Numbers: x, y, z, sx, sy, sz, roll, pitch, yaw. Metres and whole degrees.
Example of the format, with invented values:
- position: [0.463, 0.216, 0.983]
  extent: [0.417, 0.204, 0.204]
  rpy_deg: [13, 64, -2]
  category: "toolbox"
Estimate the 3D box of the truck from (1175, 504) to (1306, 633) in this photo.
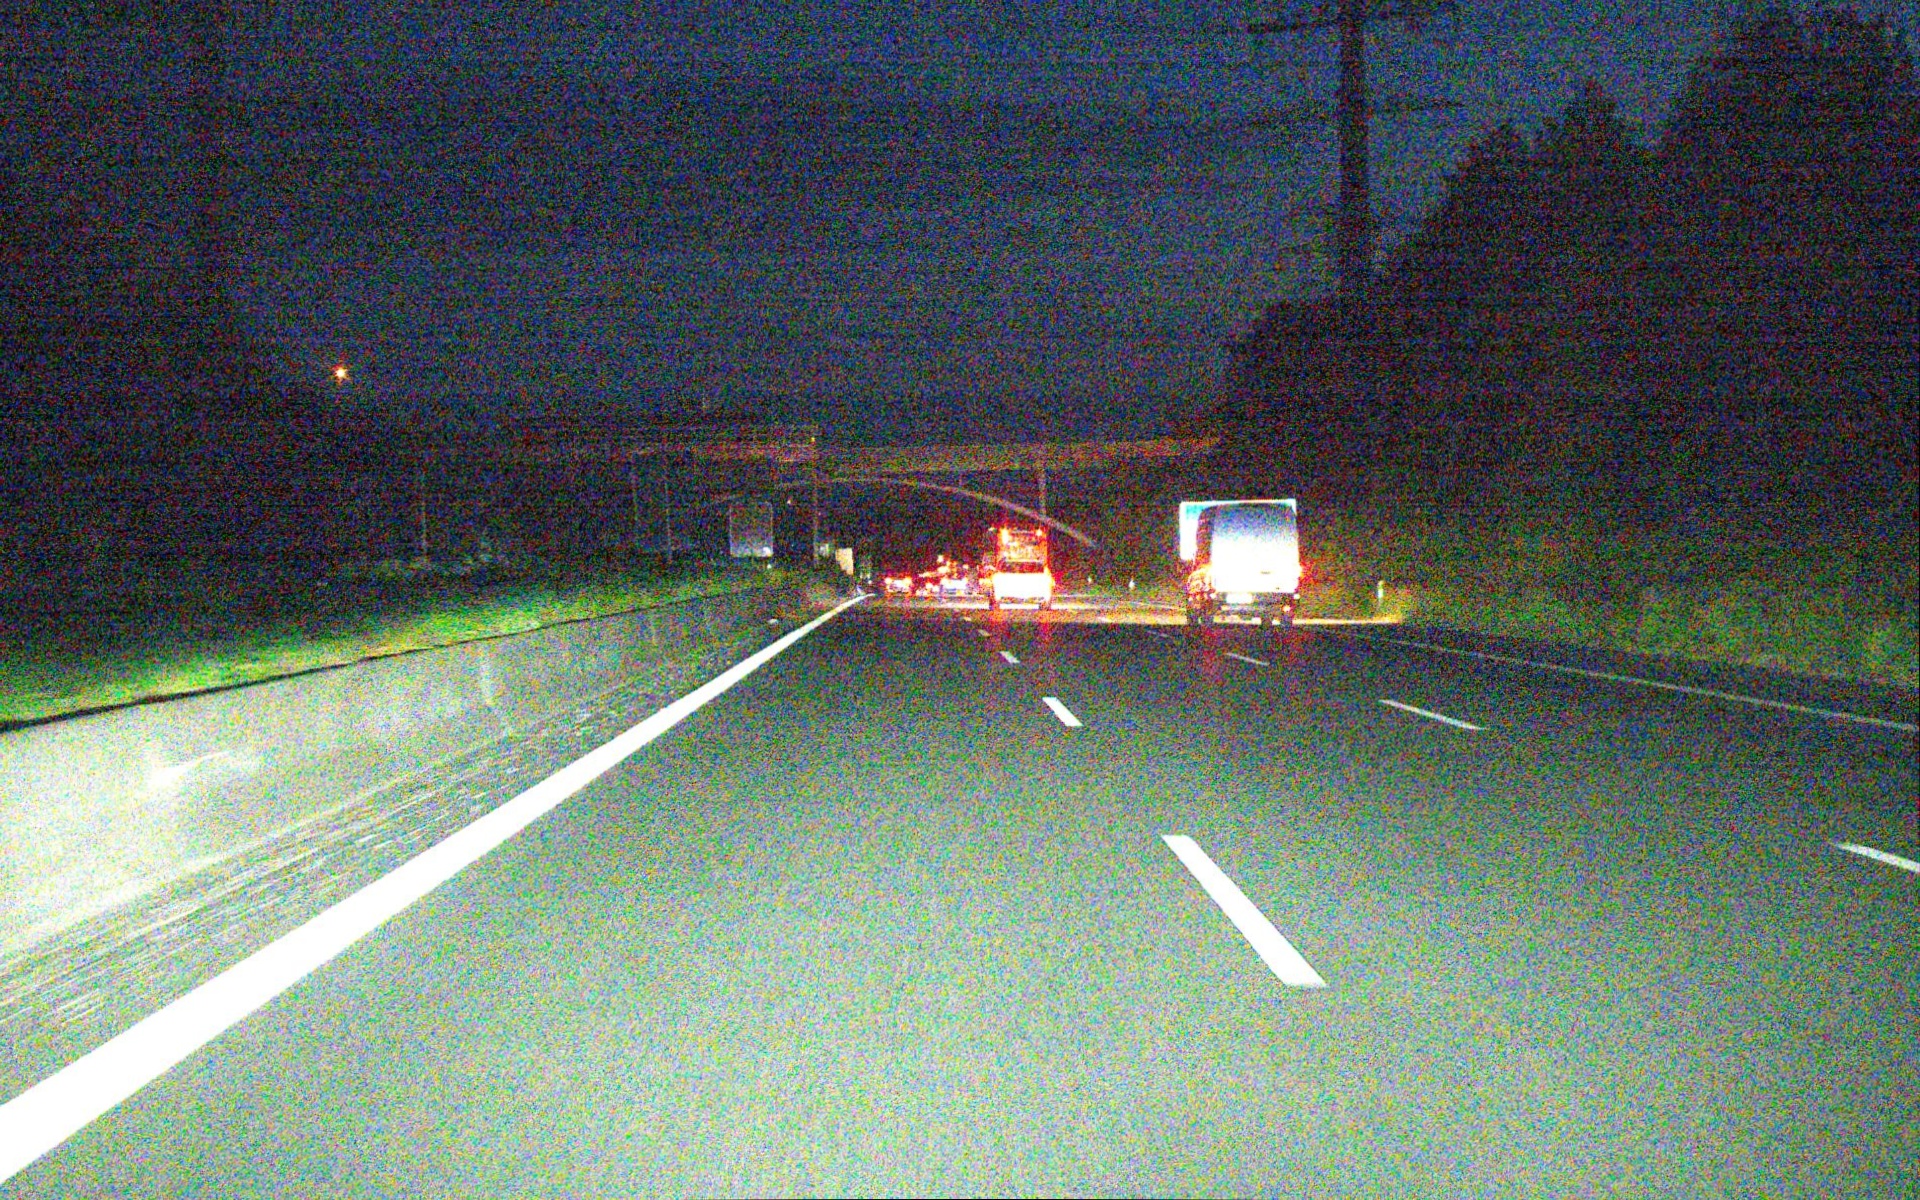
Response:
- position: [6.238, -0.644, 77.293]
  extent: [2.076, 2.682, 7.308]
  rpy_deg: [1, -1, -2]
  category: "truck"

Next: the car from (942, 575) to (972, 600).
- position: [-0.191, -0.788, 213.420]
  extent: [1.821, 1.461, 4.248]
  rpy_deg: [1, 1, 0]
  category: "car"

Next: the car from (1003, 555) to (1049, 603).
- position: [2.039, -0.667, 106.473]
  extent: [1.346, 1.382, 3.501]
  rpy_deg: [1, 1, 0]
  category: "car"

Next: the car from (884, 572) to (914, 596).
- position: [-4.010, -1.087, 226.443]
  extent: [1.821, 1.461, 4.248]
  rpy_deg: [1, 1, 0]
  category: "car"

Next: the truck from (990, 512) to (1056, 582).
- position: [3.061, -2.655, 169.868]
  extent: [3.044, 3.313, 10.142]
  rpy_deg: [1, 1, 0]
  category: "truck"

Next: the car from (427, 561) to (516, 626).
- position: [-13.393, -0.159, 94.518]
  extent: [1.792, 1.678, 5.170]
  rpy_deg: [1, -1, -1]
  category: "car"
